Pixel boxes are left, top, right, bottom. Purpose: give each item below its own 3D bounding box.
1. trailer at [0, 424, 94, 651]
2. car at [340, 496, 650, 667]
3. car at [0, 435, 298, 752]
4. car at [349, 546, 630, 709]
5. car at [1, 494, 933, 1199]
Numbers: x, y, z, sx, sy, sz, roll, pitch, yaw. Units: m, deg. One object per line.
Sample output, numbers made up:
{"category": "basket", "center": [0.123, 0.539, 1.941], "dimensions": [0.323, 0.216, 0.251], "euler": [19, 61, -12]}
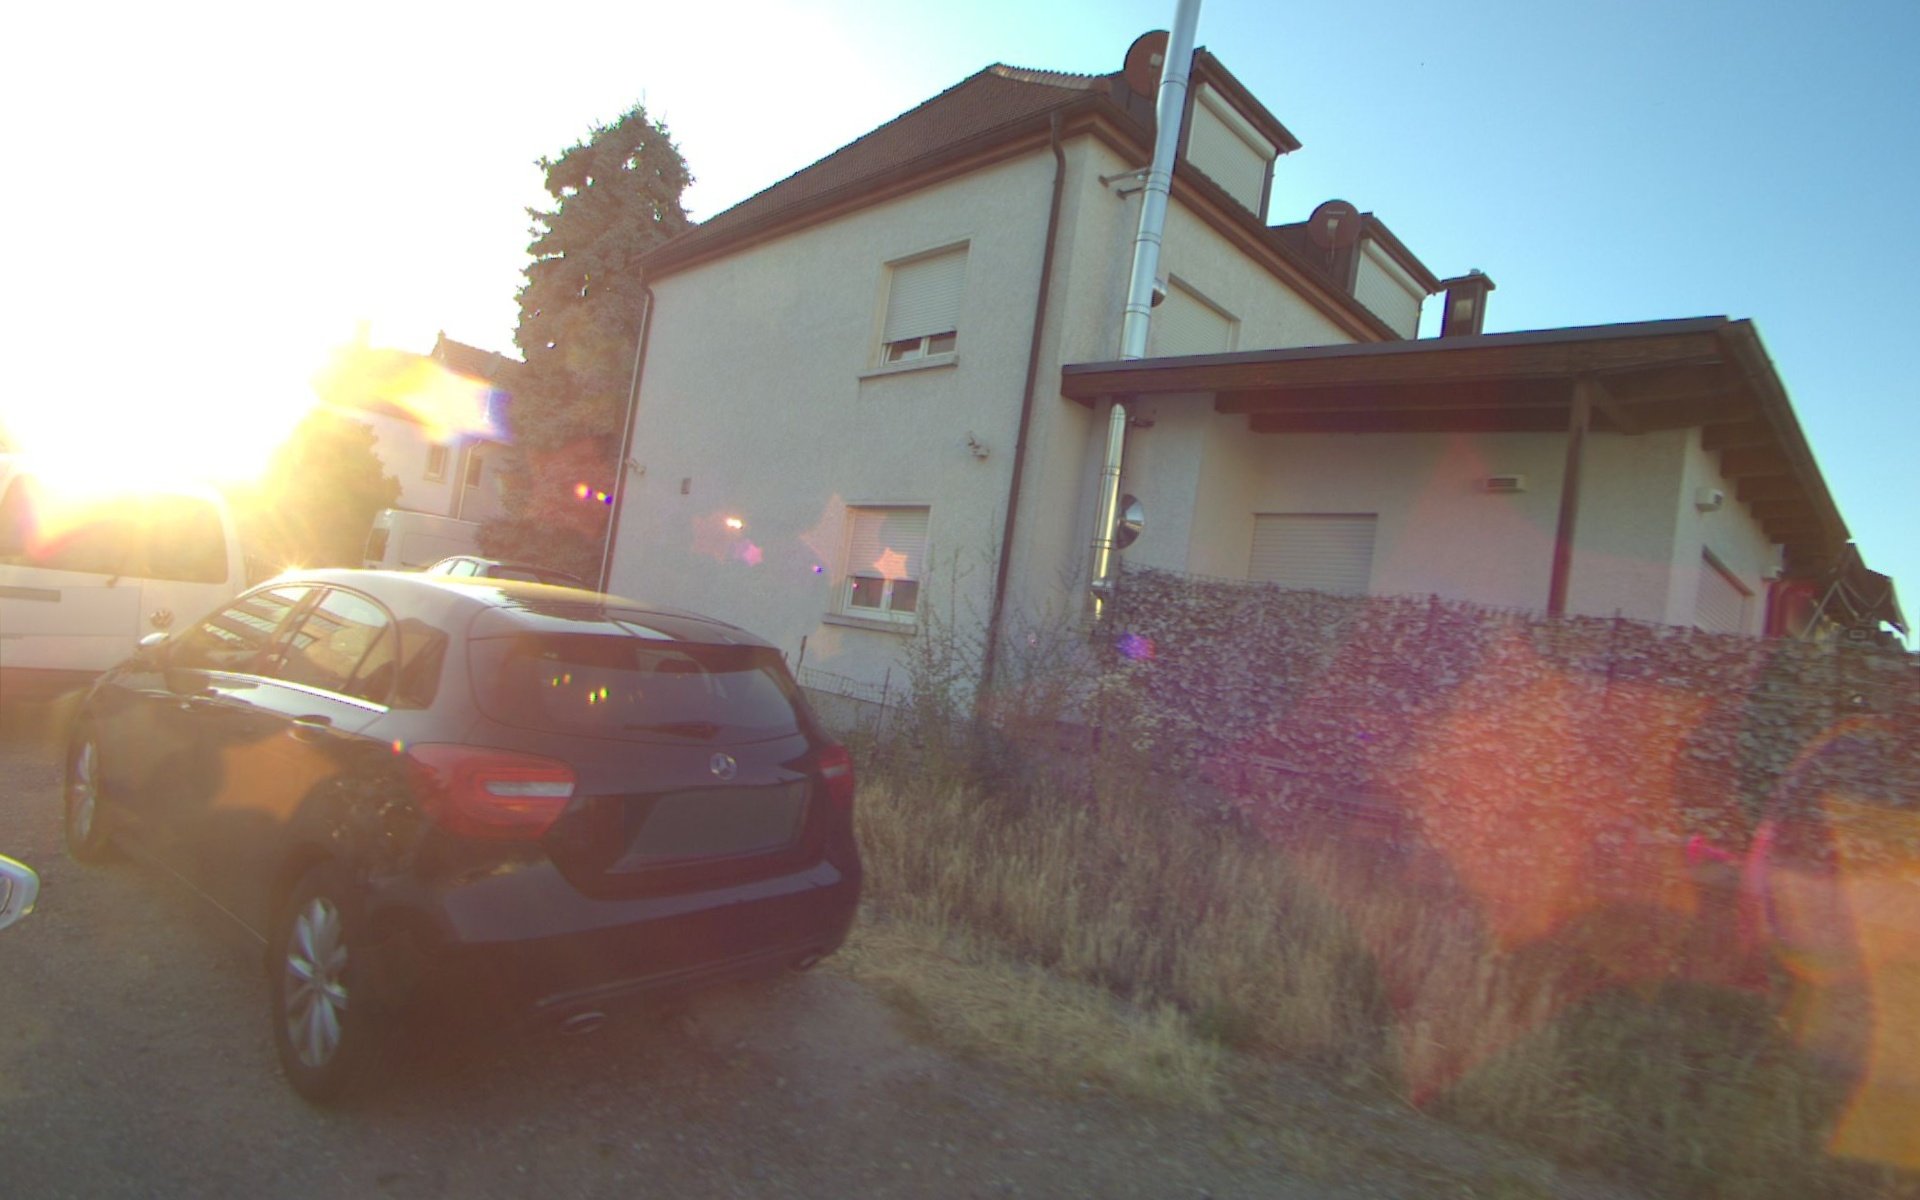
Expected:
{"category": "trailer", "center": [-12.015, -0.946, 11.286], "dimensions": [5.140, 2.237, 2.067], "euler": [7, -2, 35]}
{"category": "car", "center": [-10.059, -0.307, 22.169], "dimensions": [5.553, 2.722, 2.028], "euler": [12, -2, -43]}
{"category": "car", "center": [-7.032, -0.169, 7.668], "dimensions": [4.340, 1.852, 1.773], "euler": [7, -2, 37]}
{"category": "car", "center": [-5.726, 0.263, 12.028], "dimensions": [3.854, 1.535, 1.634], "euler": [3, -5, 44]}
{"category": "car", "center": [-2.281, 0.554, 4.136], "dimensions": [4.027, 1.536, 1.705], "euler": [7, -2, 38]}
